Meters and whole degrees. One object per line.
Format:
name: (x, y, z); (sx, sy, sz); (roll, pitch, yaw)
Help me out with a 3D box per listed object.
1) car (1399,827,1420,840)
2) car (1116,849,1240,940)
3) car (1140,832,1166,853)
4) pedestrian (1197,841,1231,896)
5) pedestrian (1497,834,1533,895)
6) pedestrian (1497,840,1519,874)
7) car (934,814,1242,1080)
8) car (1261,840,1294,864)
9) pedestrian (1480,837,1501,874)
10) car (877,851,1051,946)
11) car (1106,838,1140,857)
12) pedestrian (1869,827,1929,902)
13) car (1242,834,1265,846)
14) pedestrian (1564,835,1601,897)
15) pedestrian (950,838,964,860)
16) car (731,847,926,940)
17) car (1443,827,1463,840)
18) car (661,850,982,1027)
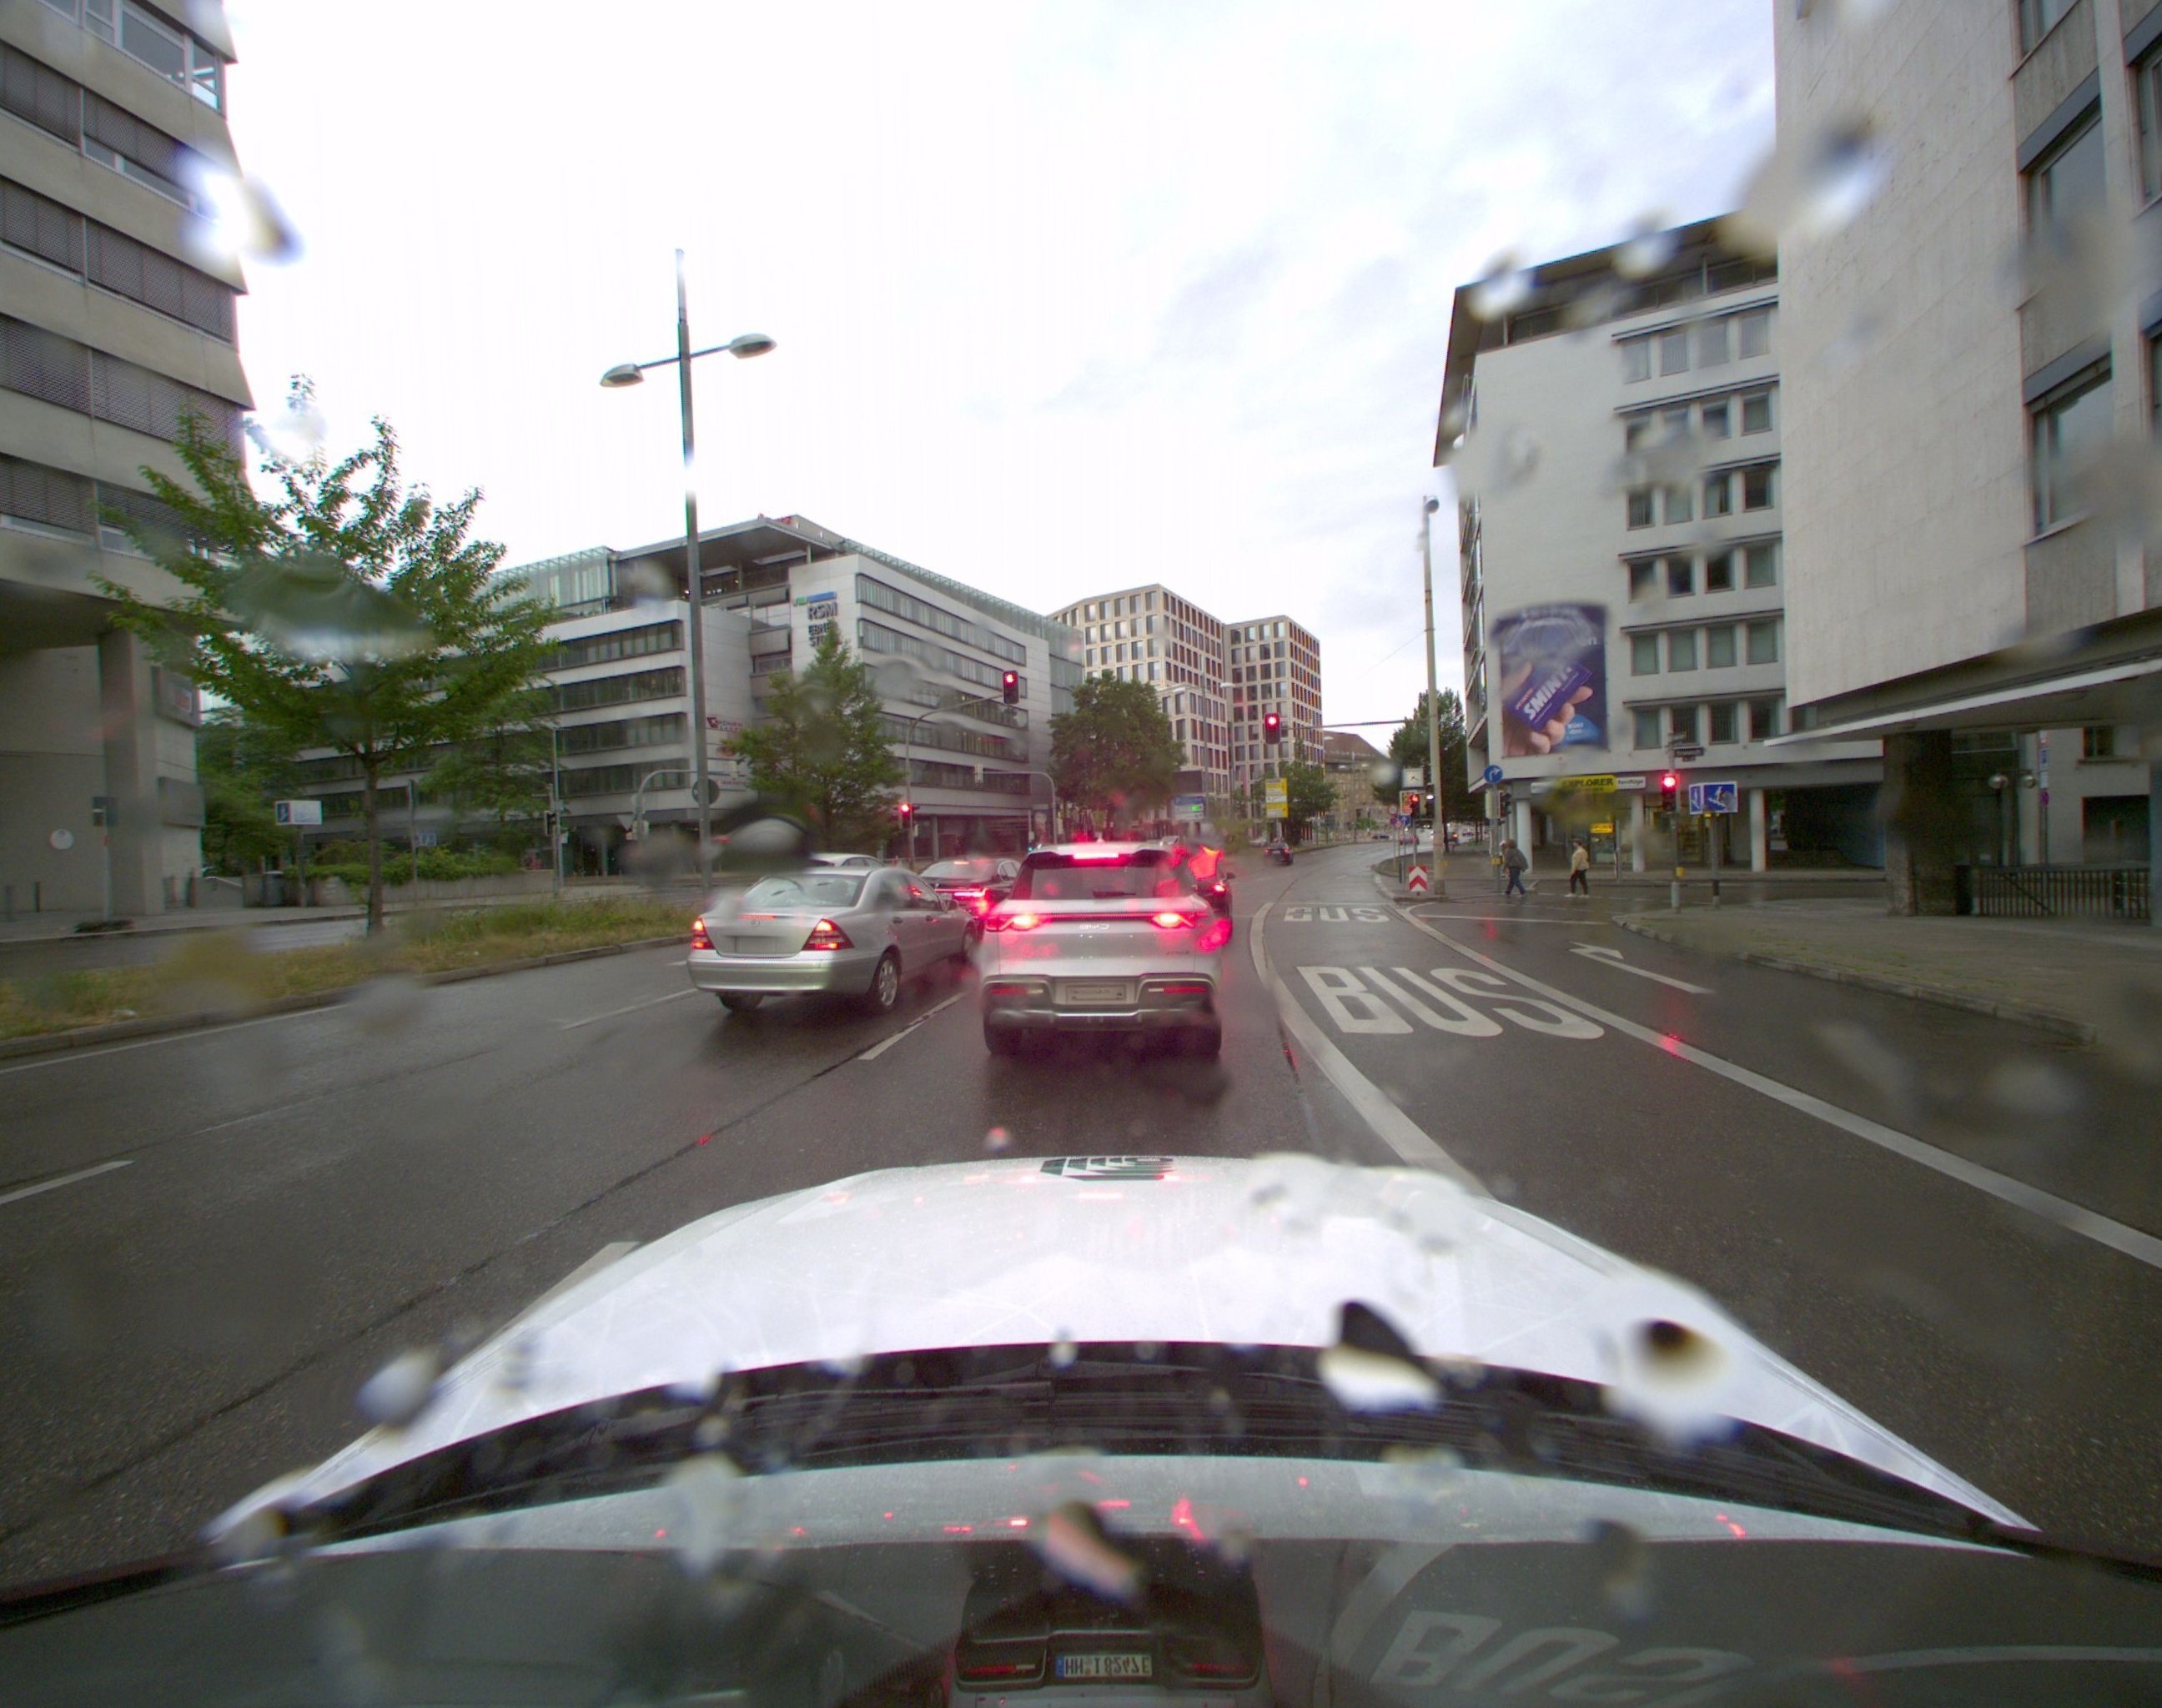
car: (40.429, -2.520, 100.308); (1.892, 1.510, 4.383); (0, 1, 29)
car: (2.034, 0.686, 15.958); (1.941, 1.530, 4.014); (-1, 0, 13)
car: (7.994, -1.257, 90.437); (1.723, 2.161, 4.516); (0, 0, 20)
pedestrian: (4.315, 0.459, 26.448); (0.920, 1.738, 0.729); (-1, 0, -3)
pedestrian: (13.063, 0.321, 24.512); (0.806, 1.798, 0.714); (-1, 0, 17)
pedestrian: (19.298, 0.132, 36.778); (0.721, 1.524, 0.763); (-1, -1, 17)
car: (0.240, 0.611, 7.683); (1.984, 1.709, 4.489); (-3, 0, 5)
car: (13.754, -0.157, 56.873); (1.978, 1.552, 4.018); (0, 1, 17)
pedestrian: (18.648, 0.087, 37.119); (0.721, 1.668, 0.694); (-1, -1, 17)
car: (-2.044, 0.740, 15.557); (1.941, 1.530, 4.014); (-1, 0, 13)
car: (4.053, -0.651, 77.823); (1.976, 1.705, 4.023); (-1, 2, 24)
pedestrian: (19.893, 0.244, 19.812); (0.800, 1.755, 1.005); (0, -1, -44)
car: (25.257, -2.064, 119.159); (1.975, 1.705, 4.336); (-1, 2, 29)
pedestrian: (14.828, 0.348, 24.090); (0.721, 1.798, 0.742); (-1, 0, 17)
pedestrian: (-10.205, -0.416, 67.271); (0.721, 1.727, 0.930); (-1, 0, 23)
car: (-4.831, 0.681, 16.259); (1.871, 1.596, 4.015); (-1, 0, 14)
car: (50.351, -2.727, 110.234); (2.027, 1.765, 4.384); (0, 1, 30)
car: (-2.534, 0.736, 9.149); (1.672, 1.486, 4.207); (-1, 0, 9)
